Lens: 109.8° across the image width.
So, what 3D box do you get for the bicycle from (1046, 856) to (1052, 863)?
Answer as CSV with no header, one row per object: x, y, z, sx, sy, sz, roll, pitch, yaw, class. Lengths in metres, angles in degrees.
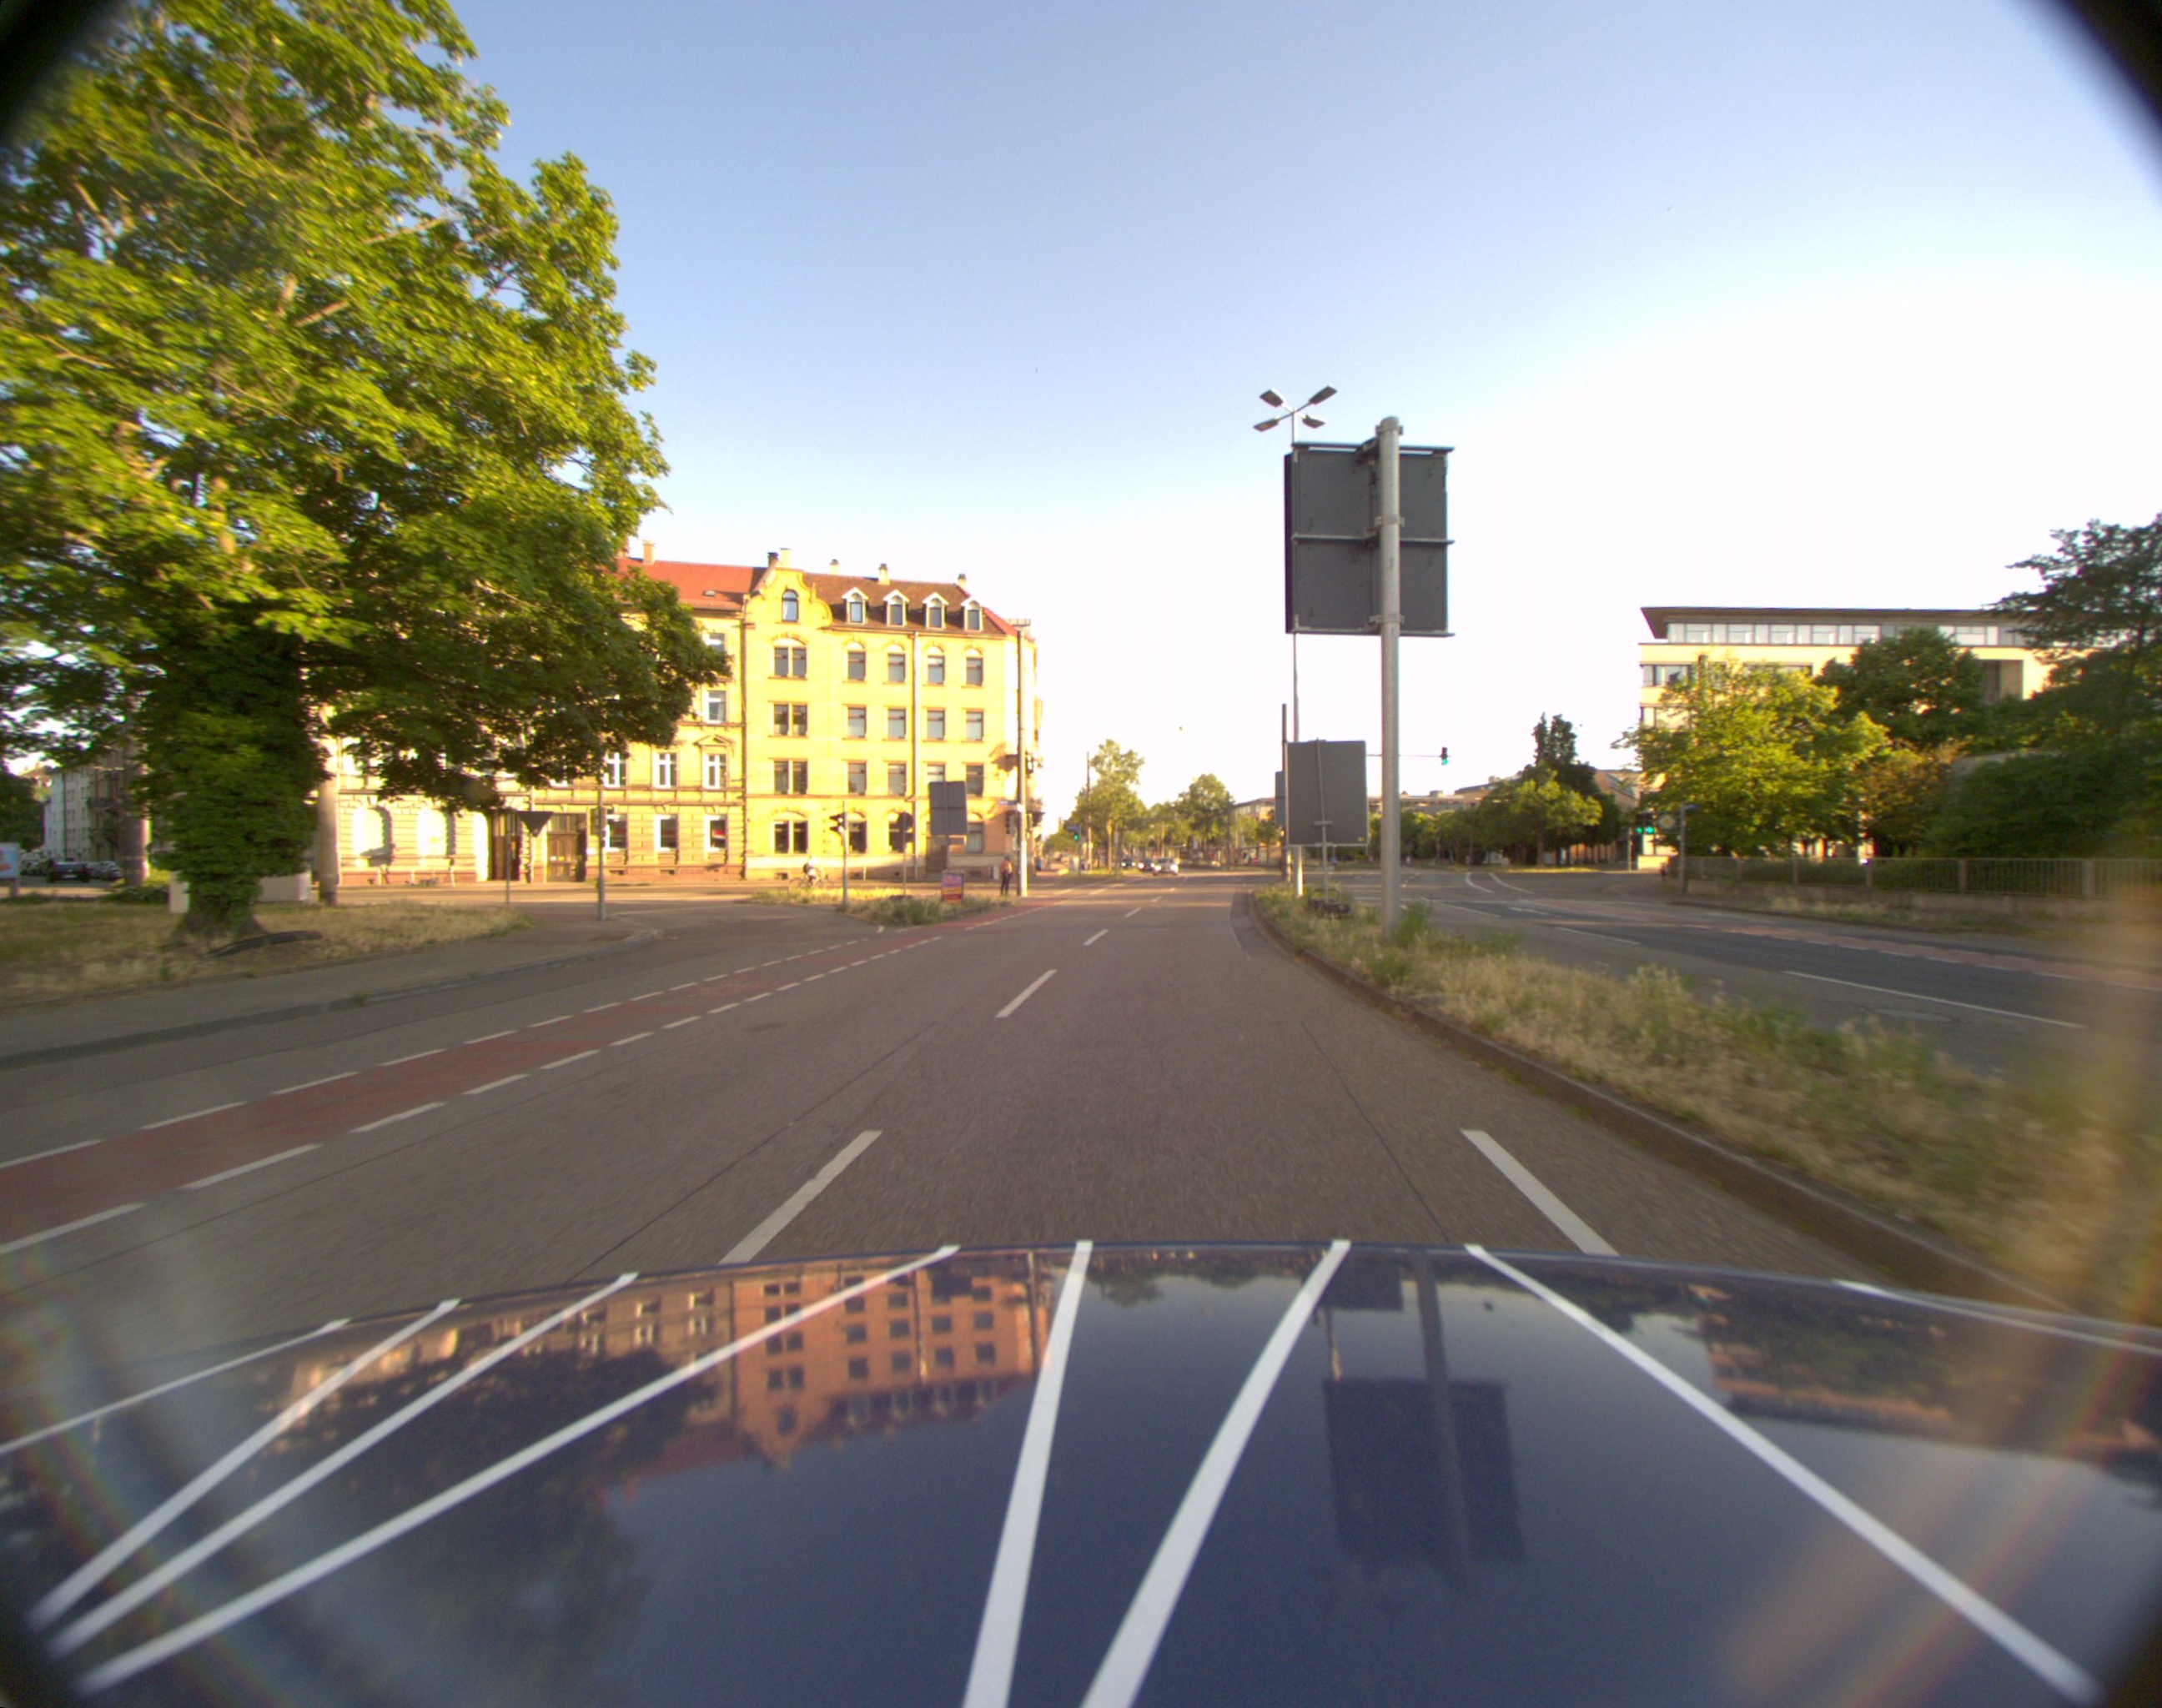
-4.532,0.838,107.643,0.735,0.942,2.339,1,0,0,bicycle

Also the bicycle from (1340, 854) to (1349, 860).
39.304,0.479,113.363,0.776,0.816,1.965,-1,0,0,bicycle

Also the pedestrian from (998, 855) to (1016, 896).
-2.955,0.860,30.472,0.553,1.619,0.700,0,1,6,pedestrian

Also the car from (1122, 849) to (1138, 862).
6.457,0.204,99.936,1.998,1.655,4.001,0,1,4,car

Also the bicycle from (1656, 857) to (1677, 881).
28.120,0.719,36.485,1.726,1.136,0.557,-1,1,-45,bicycle

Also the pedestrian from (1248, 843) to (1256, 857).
24.191,-0.526,107.579,0.772,2.002,1.127,-1,1,-1,pedestrian

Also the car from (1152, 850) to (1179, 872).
6.795,0.531,61.280,1.998,1.655,4.001,0,1,4,car

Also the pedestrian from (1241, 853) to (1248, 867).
23.295,0.816,108.264,0.772,2.002,1.127,-1,1,-1,pedestrian

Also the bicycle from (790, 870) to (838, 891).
-11.143,1.095,31.772,1.816,0.824,0.622,0,1,-12,bicycle

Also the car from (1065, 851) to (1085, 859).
-1.474,0.209,181.625,4.420,1.681,1.920,-1,0,32,car

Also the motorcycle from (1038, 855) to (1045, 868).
-3.963,0.727,75.870,0.555,1.207,2.071,-2,1,-4,motorcycle

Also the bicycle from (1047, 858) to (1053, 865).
-4.268,0.974,105.100,0.874,0.910,2.084,1,0,-1,bicycle

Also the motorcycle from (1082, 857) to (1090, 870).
0.434,0.772,64.334,0.605,1.038,1.745,-1,0,4,motorcycle

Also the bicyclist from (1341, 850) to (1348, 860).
39.295,0.084,113.332,0.770,1.459,0.827,-1,1,-1,bicyclist

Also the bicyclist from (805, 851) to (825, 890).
-11.129,0.678,31.761,0.696,1.574,0.637,-1,1,-12,bicyclist

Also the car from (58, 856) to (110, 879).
-72.040,0.946,54.963,3.988,1.608,1.827,0,1,43,car
